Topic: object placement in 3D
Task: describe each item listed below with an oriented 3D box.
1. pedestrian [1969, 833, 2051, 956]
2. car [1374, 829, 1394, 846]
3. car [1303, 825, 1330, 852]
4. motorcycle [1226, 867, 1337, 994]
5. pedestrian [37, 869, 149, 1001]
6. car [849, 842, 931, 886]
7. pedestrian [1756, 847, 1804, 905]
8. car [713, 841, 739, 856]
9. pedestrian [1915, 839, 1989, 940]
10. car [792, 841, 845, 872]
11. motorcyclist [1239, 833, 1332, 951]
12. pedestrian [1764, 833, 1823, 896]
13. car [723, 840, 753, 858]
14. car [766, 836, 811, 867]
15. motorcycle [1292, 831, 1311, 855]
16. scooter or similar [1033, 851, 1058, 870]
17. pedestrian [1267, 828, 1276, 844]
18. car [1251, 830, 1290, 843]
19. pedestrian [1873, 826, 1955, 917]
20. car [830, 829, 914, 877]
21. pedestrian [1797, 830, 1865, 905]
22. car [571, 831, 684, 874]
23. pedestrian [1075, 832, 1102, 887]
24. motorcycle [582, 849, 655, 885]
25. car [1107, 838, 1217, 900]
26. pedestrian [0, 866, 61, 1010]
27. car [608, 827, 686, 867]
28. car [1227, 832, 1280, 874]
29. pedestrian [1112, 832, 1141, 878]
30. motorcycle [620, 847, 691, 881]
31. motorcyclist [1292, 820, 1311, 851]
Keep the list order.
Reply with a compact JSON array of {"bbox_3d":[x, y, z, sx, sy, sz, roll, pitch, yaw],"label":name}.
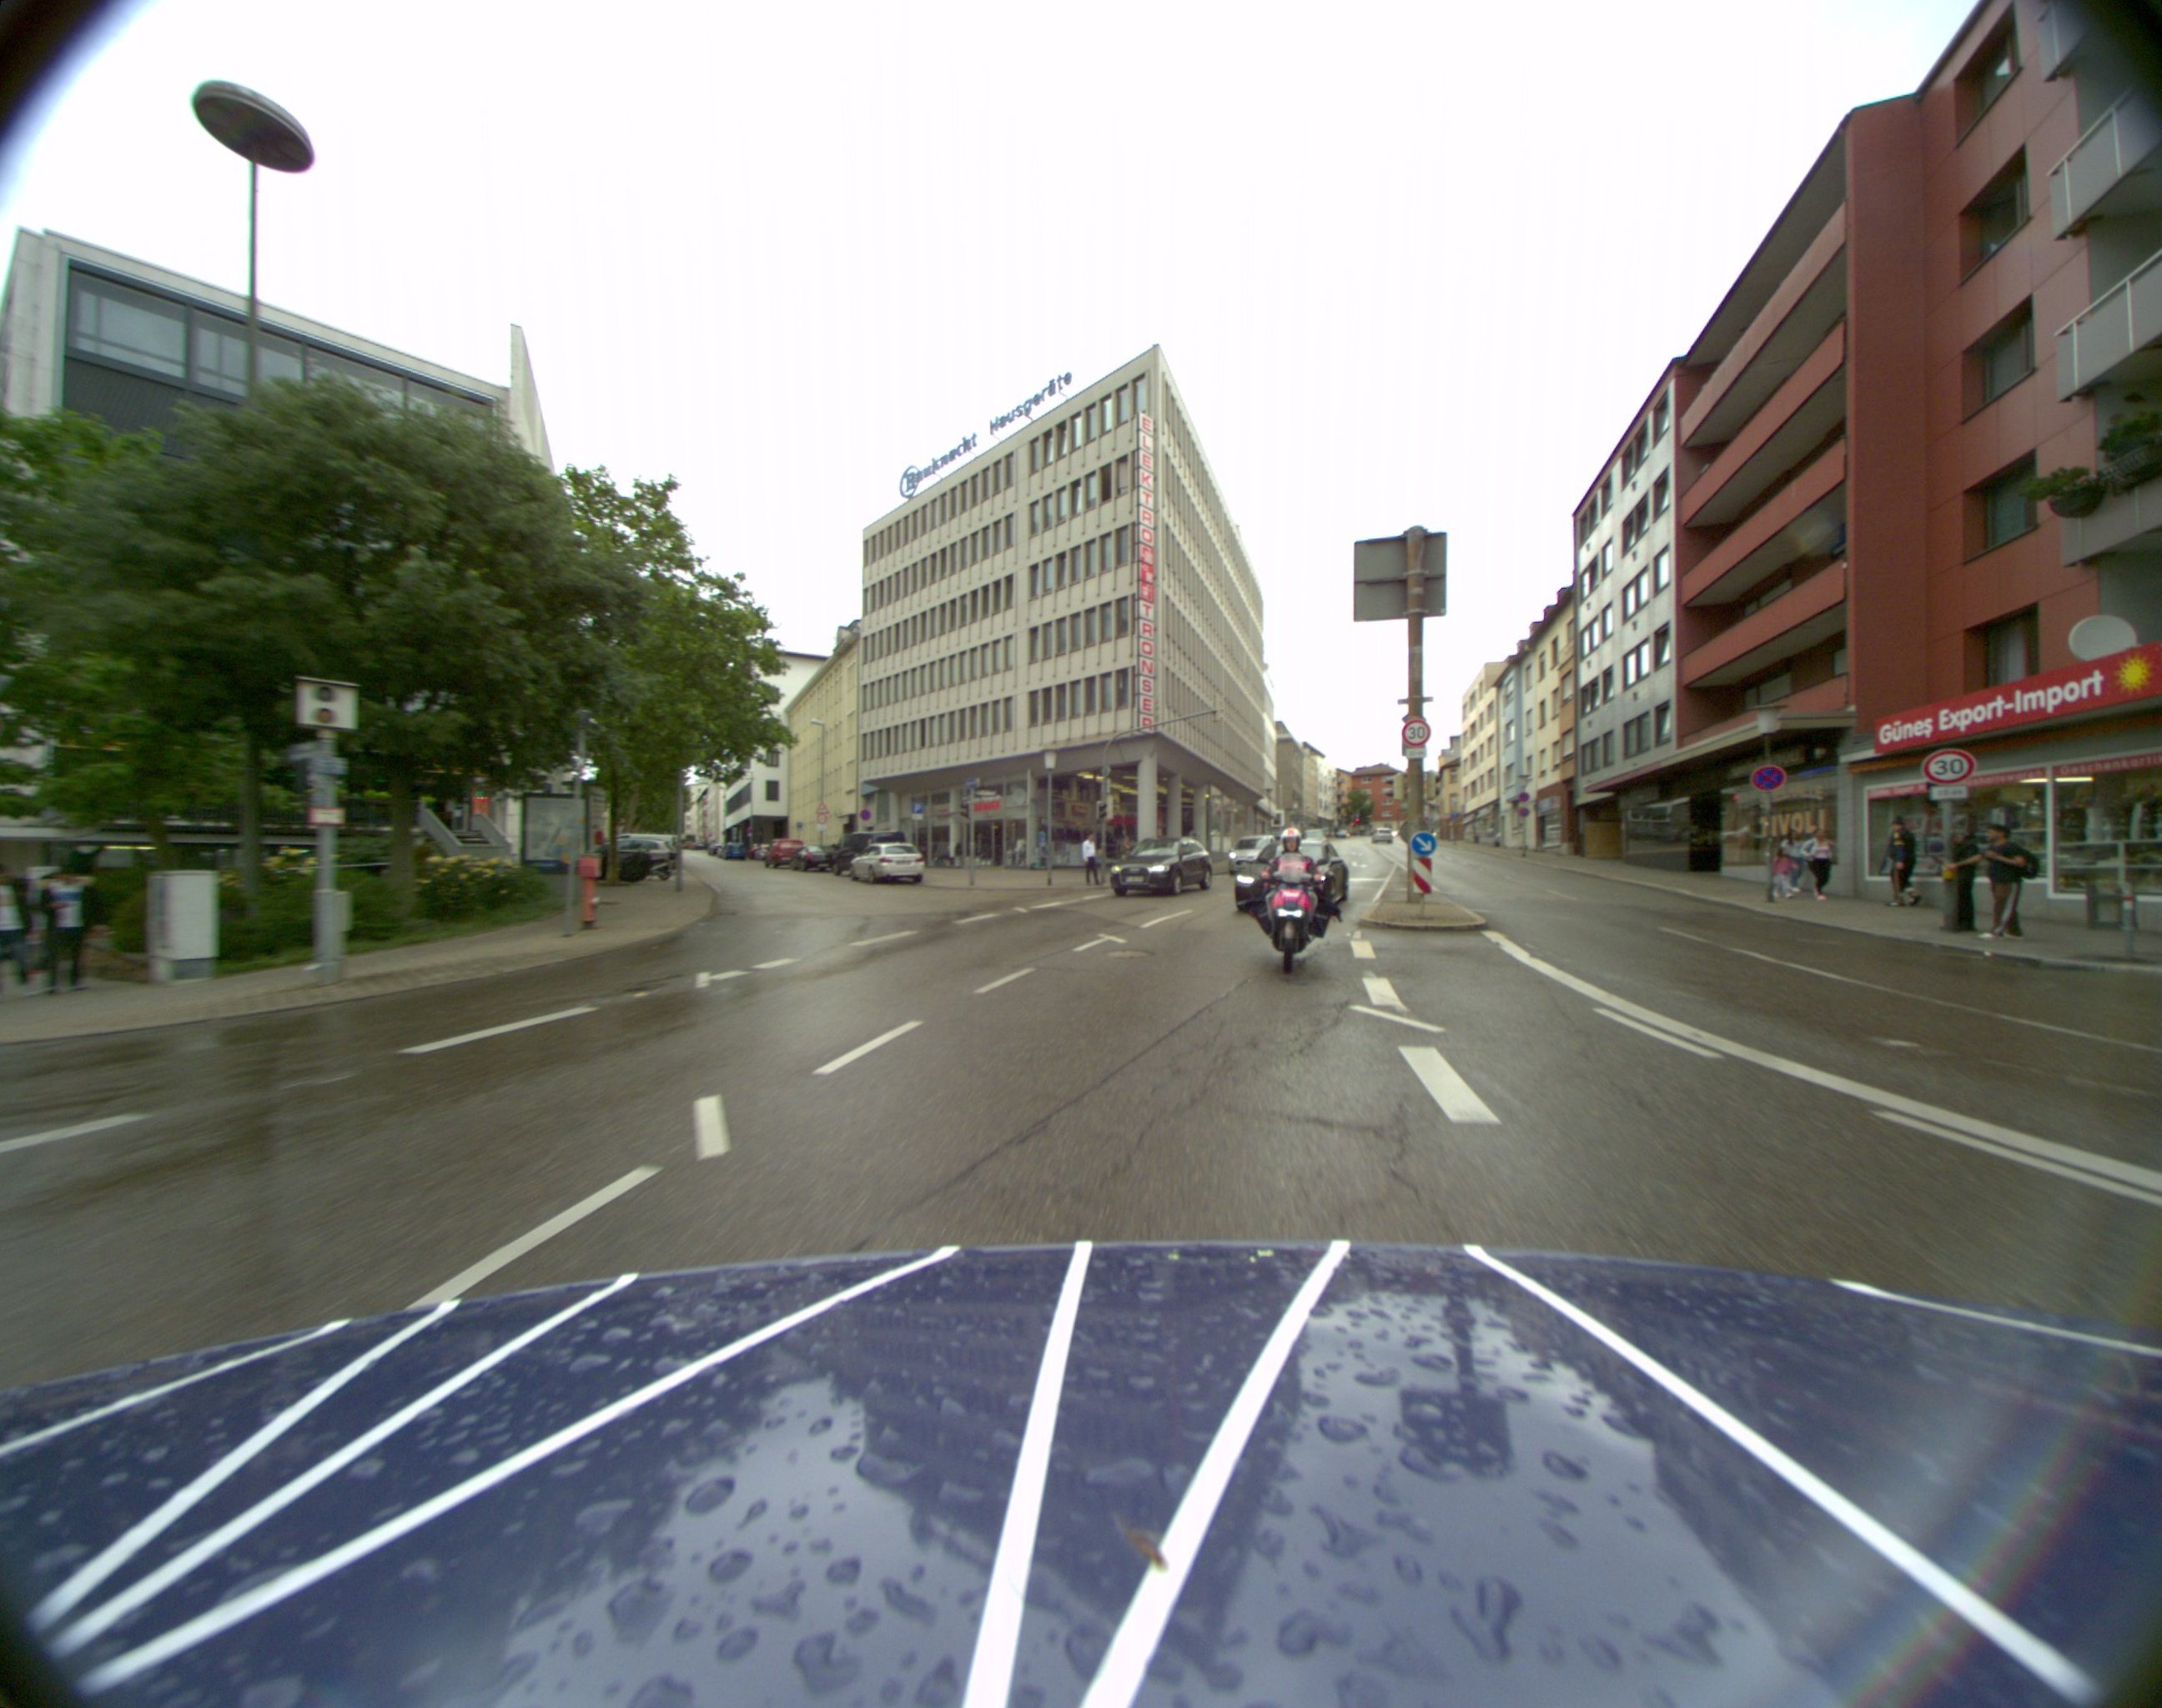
[{"bbox_3d":[14.538,0.594,11.892,0.831,1.821,0.721,-3,3,-36],"label":"pedestrian"},{"bbox_3d":[31.443,-1.705,78.896,1.737,1.584,4.179,2,3,19],"label":"car"},{"bbox_3d":[17.429,-1.196,56.297,1.846,1.893,3.768,-1,2,16],"label":"car"},{"bbox_3d":[2.607,0.855,9.600,1.009,1.219,2.697,1,2,22],"label":"motorcycle"},{"bbox_3d":[-13.507,1.092,10.395,0.713,1.668,0.680,-3,4,31],"label":"pedestrian"},{"bbox_3d":[-7.404,0.299,29.100,1.860,1.486,4.840,-2,2,-29],"label":"car"},{"bbox_3d":[16.833,0.520,18.313,0.534,1.315,0.724,-3,2,11],"label":"pedestrian"},{"bbox_3d":[-37.211,-0.594,79.578,2.003,1.486,3.989,-2,3,-31],"label":"car"},{"bbox_3d":[15.034,0.601,13.130,0.555,1.688,0.624,0,2,16],"label":"pedestrian"},{"bbox_3d":[-14.329,0.084,41.397,1.845,1.486,4.124,-2,3,-31],"label":"car"},{"bbox_3d":[2.552,0.427,9.440,1.009,1.373,0.836,1,3,22],"label":"motorcyclist"},{"bbox_3d":[18.277,0.253,19.499,0.828,1.552,0.724,-3,2,11],"label":"pedestrian"},{"bbox_3d":[-31.770,-0.505,70.390,2.003,1.486,3.989,-2,3,-31],"label":"car"},{"bbox_3d":[-18.188,-0.215,47.160,1.890,1.754,3.989,-2,3,-31],"label":"car"},{"bbox_3d":[11.720,-0.601,40.375,0.846,1.219,2.375,-3,1,15],"label":"motorcycle"},{"bbox_3d":[-1.612,0.278,34.767,1.128,0.820,0.307,-2,2,-28],"label":"scooter or similar"},{"bbox_3d":[20.308,-1.907,80.854,0.784,1.696,1.122,2,4,17],"label":"pedestrian"},{"bbox_3d":[24.467,-2.248,98.225,4.525,1.495,2.003,-2,1,24],"label":"car"},{"bbox_3d":[17.304,0.350,15.801,0.762,1.838,0.844,-1,2,10],"label":"pedestrian"},{"bbox_3d":[-9.514,-0.112,34.403,1.964,1.987,4.792,-3,3,-37],"label":"car"},{"bbox_3d":[17.399,0.309,17.643,0.828,1.680,0.724,-3,2,11],"label":"pedestrian"},{"bbox_3d":[-19.423,-0.055,32.700,3.942,1.625,1.624,3,0,-24],"label":"car"},{"bbox_3d":[0.271,0.172,25.948,0.722,1.808,0.830,1,4,14],"label":"pedestrian"},{"bbox_3d":[-15.147,0.432,24.927,1.944,1.110,0.628,2,0,-26],"label":"motorcycle"},{"bbox_3d":[2.432,0.345,21.820,1.824,1.551,4.208,1,2,26],"label":"car"},{"bbox_3d":[-14.261,1.111,10.031,0.713,1.817,0.680,-3,4,30],"label":"pedestrian"},{"bbox_3d":[-27.465,-0.466,48.177,3.850,2.387,1.900,-1,3,-15],"label":"car"},{"bbox_3d":[7.425,-0.072,32.370,1.829,1.532,4.256,-4,1,17],"label":"car"},{"bbox_3d":[1.736,0.038,28.867,0.721,1.680,0.831,4,5,41],"label":"pedestrian"},{"bbox_3d":[-15.320,0.370,27.413,2.093,1.110,0.628,3,1,-15],"label":"motorcycle"},{"bbox_3d":[11.674,-0.987,40.273,0.846,1.580,0.963,-3,2,15],"label":"motorcyclist"}]
